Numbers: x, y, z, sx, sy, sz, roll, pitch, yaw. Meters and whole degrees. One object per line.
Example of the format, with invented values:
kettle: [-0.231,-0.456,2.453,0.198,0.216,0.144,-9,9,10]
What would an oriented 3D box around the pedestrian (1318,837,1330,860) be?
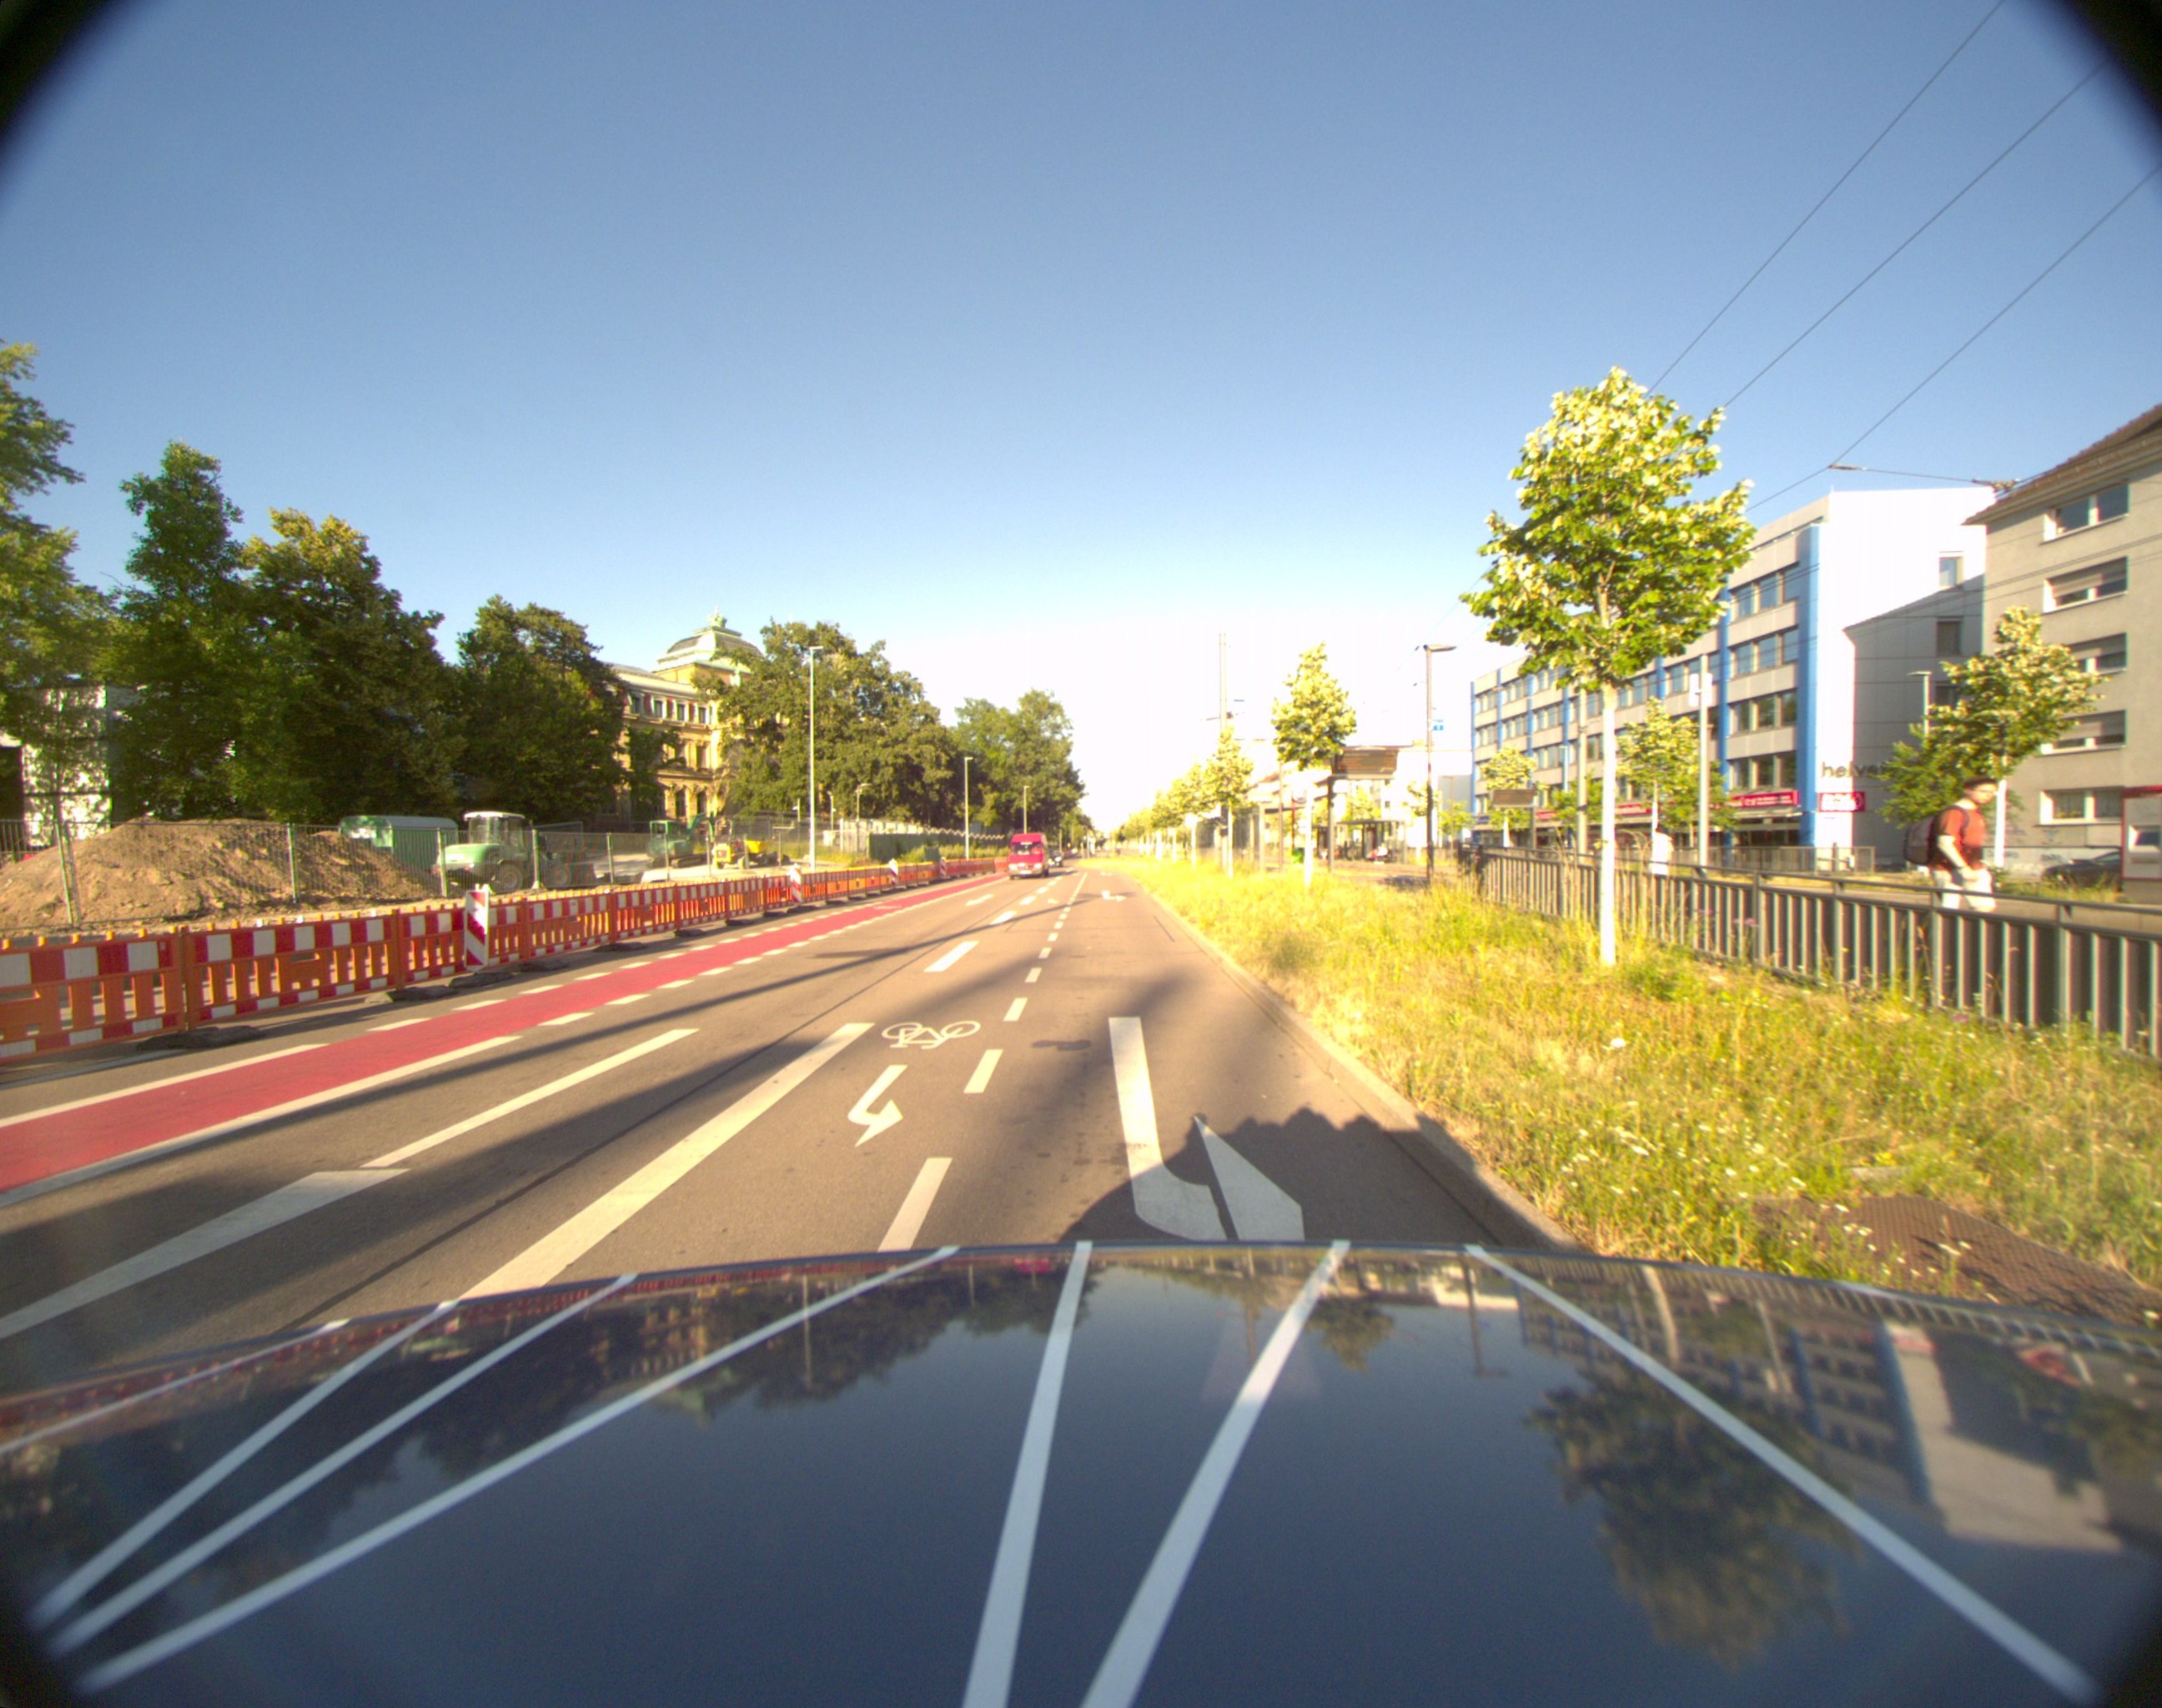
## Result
pedestrian: [18.746,-0.430,58.610,0.659,1.683,0.772,-2,2,4]

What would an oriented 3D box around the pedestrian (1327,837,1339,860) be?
pedestrian: [18.705,-0.386,56.304,0.659,1.683,0.772,-2,2,7]

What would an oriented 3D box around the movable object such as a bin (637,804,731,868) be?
movable object such as a bin: [-22.366,-1.002,43.120,1.998,3.311,5.376,-2,1,6]

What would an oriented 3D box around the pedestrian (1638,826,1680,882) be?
pedestrian: [17.860,-0.006,23.494,0.787,1.663,0.619,-2,2,4]

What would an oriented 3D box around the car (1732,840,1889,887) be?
car: [26.150,0.297,27.446,1.886,1.499,3.942,-2,1,1]

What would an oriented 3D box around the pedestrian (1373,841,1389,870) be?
pedestrian: [18.307,0.088,46.391,0.660,1.683,0.772,-2,2,-1]

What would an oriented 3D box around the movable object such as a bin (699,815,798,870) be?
movable object such as a bin: [-18.586,-0.668,42.882,1.997,2.800,5.870,-2,1,11]

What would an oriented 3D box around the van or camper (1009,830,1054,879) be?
van or camper: [-2.730,-0.038,43.122,1.998,2.514,5.913,-2,1,1]

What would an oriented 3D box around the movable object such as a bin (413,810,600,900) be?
movable object such as a bin: [-19.005,-0.015,25.536,1.998,2.668,5.014,-2,1,6]

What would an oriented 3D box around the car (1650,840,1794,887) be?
car: [22.861,0.272,27.309,1.886,1.499,3.942,-2,1,1]

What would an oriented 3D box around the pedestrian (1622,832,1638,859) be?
pedestrian: [36.242,-0.547,50.145,0.645,1.736,0.599,-2,2,8]

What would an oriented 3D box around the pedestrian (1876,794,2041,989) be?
pedestrian: [8.055,0.330,7.002,0.787,1.689,0.619,-2,2,4]

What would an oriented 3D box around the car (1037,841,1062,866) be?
car: [-2.694,-0.076,64.728,1.999,2.002,3.998,-2,1,-3]

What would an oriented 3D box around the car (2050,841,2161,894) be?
car: [33.228,0.394,23.495,1.886,1.499,3.673,-2,1,1]
